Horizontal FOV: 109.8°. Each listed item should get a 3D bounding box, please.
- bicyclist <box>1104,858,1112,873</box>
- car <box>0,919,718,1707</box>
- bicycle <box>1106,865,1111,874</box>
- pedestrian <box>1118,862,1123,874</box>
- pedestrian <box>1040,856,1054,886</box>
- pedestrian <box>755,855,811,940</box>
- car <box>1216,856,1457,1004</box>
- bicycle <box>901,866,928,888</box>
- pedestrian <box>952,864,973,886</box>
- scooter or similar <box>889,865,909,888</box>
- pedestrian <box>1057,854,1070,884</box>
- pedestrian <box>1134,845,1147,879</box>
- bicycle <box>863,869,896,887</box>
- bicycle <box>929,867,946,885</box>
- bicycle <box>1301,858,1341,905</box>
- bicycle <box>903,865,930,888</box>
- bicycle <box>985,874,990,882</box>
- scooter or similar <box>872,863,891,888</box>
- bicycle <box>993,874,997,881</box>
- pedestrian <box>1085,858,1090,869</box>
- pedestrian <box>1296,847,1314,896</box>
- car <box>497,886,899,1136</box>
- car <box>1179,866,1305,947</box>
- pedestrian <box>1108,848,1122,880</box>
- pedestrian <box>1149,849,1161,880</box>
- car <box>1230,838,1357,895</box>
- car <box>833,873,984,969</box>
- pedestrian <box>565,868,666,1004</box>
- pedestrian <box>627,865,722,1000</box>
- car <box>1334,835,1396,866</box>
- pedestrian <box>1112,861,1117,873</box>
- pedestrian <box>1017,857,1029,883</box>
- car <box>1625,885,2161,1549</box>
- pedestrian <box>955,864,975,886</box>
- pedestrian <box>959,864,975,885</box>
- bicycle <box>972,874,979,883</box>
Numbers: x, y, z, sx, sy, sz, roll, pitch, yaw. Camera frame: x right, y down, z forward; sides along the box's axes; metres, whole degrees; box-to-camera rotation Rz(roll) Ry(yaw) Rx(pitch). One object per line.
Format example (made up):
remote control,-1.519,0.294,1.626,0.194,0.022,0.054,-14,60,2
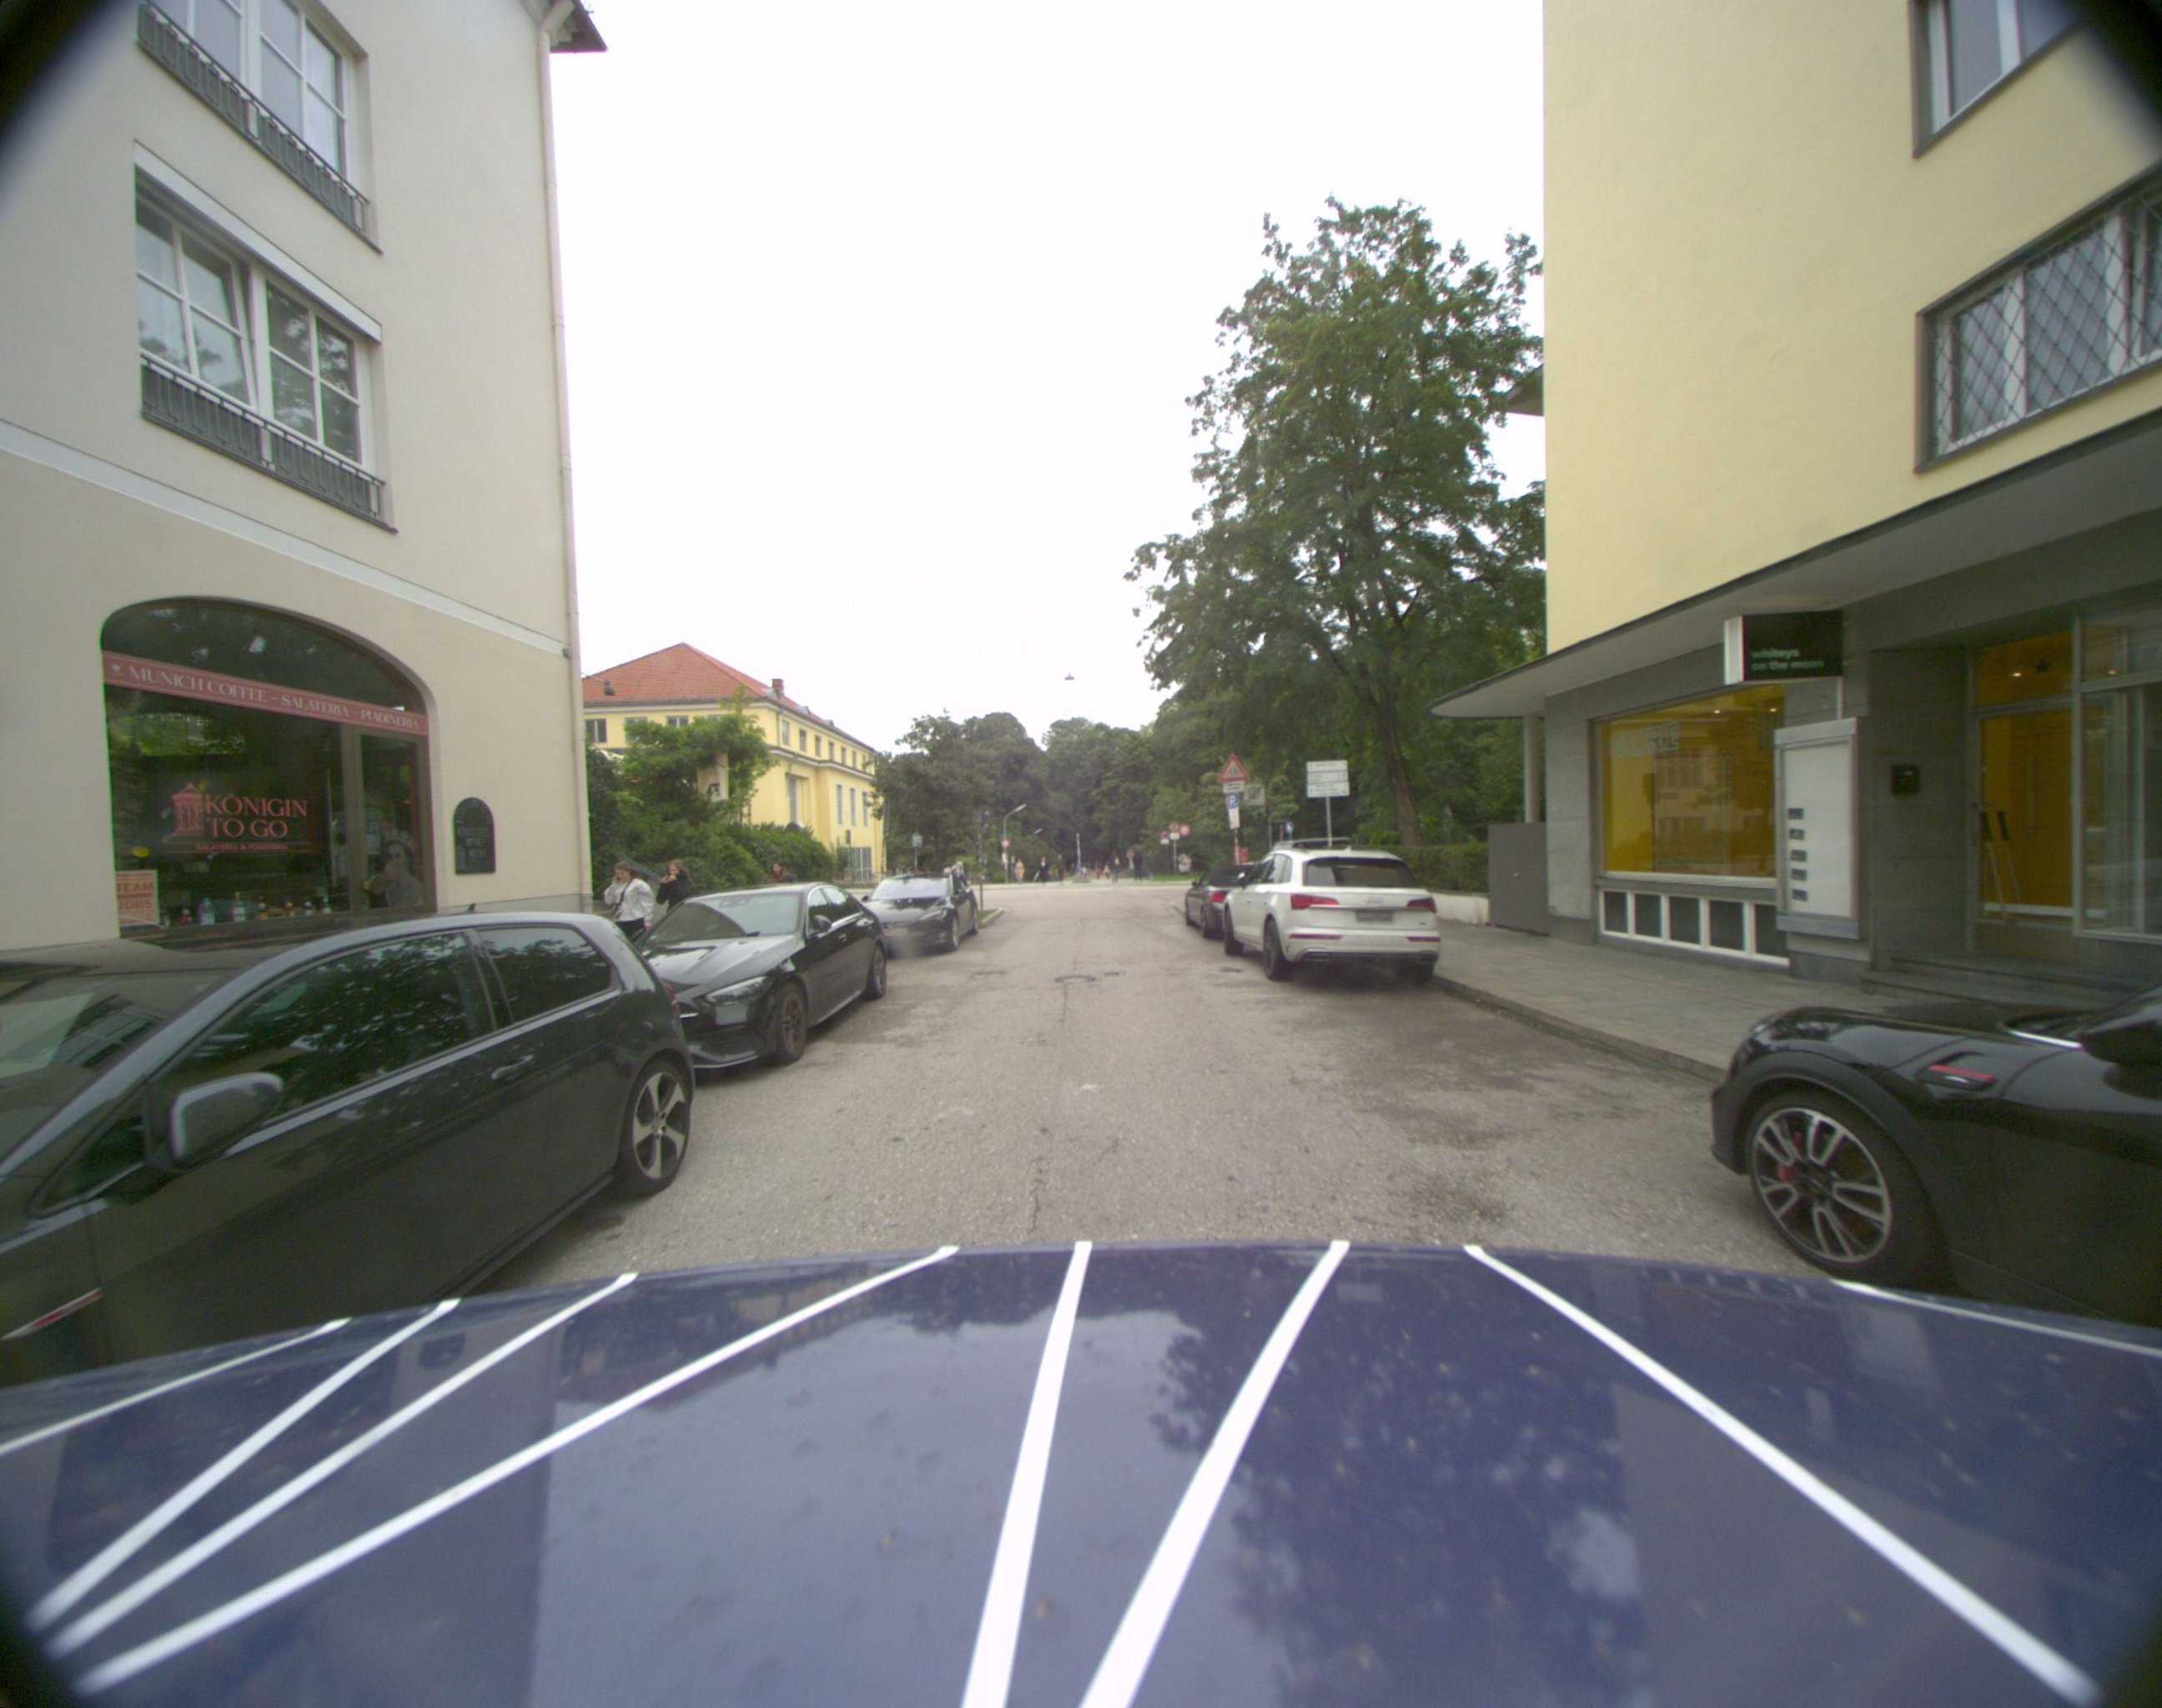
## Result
bicyclist,3.194,1.338,89.415,0.856,1.792,0.766,-2,1,0
car,-2.846,1.120,2.119,1.680,1.416,4.203,-4,0,-2
bicycle,3.240,1.776,89.353,0.483,1.034,1.946,-1,0,3
pedestrian,5.728,2.008,110.528,0.686,1.662,0.774,-3,-2,1
pedestrian,-1.936,0.954,43.087,0.686,1.662,0.774,-3,-2,1
pedestrian,-5.941,0.840,15.193,0.706,1.613,0.880,-2,2,-1
car,3.129,0.844,10.320,1.807,1.574,4.338,0,-1,0
bicycle,-9.047,1.231,41.285,0.202,1.184,1.658,-1,-2,41
pedestrian,-7.170,1.285,45.916,1.217,1.239,0.639,-3,-2,-11
scooter or similar,-9.422,1.165,39.305,1.114,1.205,0.324,-2,-1,37
pedestrian,-1.012,0.885,43.429,0.639,1.662,0.774,-3,-2,1
pedestrian,3.427,0.473,43.798,0.707,1.892,0.804,-1,-1,0
bicycle,-10.621,1.265,40.048,1.656,0.987,0.248,1,-1,-24
bicycle,-8.118,1.234,43.037,0.307,1.032,1.656,0,-1,15
bicycle,6.720,0.754,21.329,0.563,1.203,1.854,-3,1,3
bicycle,-8.908,1.220,41.144,0.169,1.191,1.658,-1,-2,41
bicycle,-7.798,2.019,63.226,0.215,0.671,0.909,0,-1,3
scooter or similar,-10.269,1.106,39.168,0.396,1.240,1.391,-1,-1,9
bicycle,-7.672,2.119,67.765,0.242,0.653,0.909,0,-1,1
pedestrian,0.948,1.507,116.806,0.686,1.662,0.774,-3,-2,1
pedestrian,8.454,0.665,28.686,0.560,1.788,0.641,-2,-1,18
car,-3.159,1.167,7.461,1.650,1.416,4.509,-4,0,-1
car,3.186,0.978,15.824,1.750,1.402,4.098,0,0,0
pedestrian,1.981,0.597,44.181,0.751,1.822,1.115,-1,-1,0
pedestrian,4.250,0.596,43.760,0.634,1.771,0.801,-1,-1,0
car,8.358,0.436,29.968,4.422,1.990,1.933,-2,2,-15
car,-3.146,1.163,14.876,1.807,1.402,4.656,-3,0,0
pedestrian,-6.084,1.040,9.985,0.706,1.652,0.880,-2,2,-1
pedestrian,-5.338,1.001,10.035,0.706,1.652,0.880,-2,2,-1
car,21.048,-0.232,56.351,3.958,2.093,1.908,-2,2,31
pedestrian,4.772,1.795,108.366,0.686,1.662,0.774,-3,-2,1
pedestrian,-3.902,1.058,51.110,0.653,1.676,0.976,-3,-2,1
car,3.369,0.895,1.520,1.683,1.463,4.097,-1,0,1
pedestrian,-7.150,1.281,46.859,1.178,1.285,0.639,-3,-2,-11
pedestrian,-7.131,1.291,47.512,0.887,1.227,0.550,-3,-2,-11
bicycle,-7.806,1.821,56.228,0.215,0.671,0.910,0,-1,12
